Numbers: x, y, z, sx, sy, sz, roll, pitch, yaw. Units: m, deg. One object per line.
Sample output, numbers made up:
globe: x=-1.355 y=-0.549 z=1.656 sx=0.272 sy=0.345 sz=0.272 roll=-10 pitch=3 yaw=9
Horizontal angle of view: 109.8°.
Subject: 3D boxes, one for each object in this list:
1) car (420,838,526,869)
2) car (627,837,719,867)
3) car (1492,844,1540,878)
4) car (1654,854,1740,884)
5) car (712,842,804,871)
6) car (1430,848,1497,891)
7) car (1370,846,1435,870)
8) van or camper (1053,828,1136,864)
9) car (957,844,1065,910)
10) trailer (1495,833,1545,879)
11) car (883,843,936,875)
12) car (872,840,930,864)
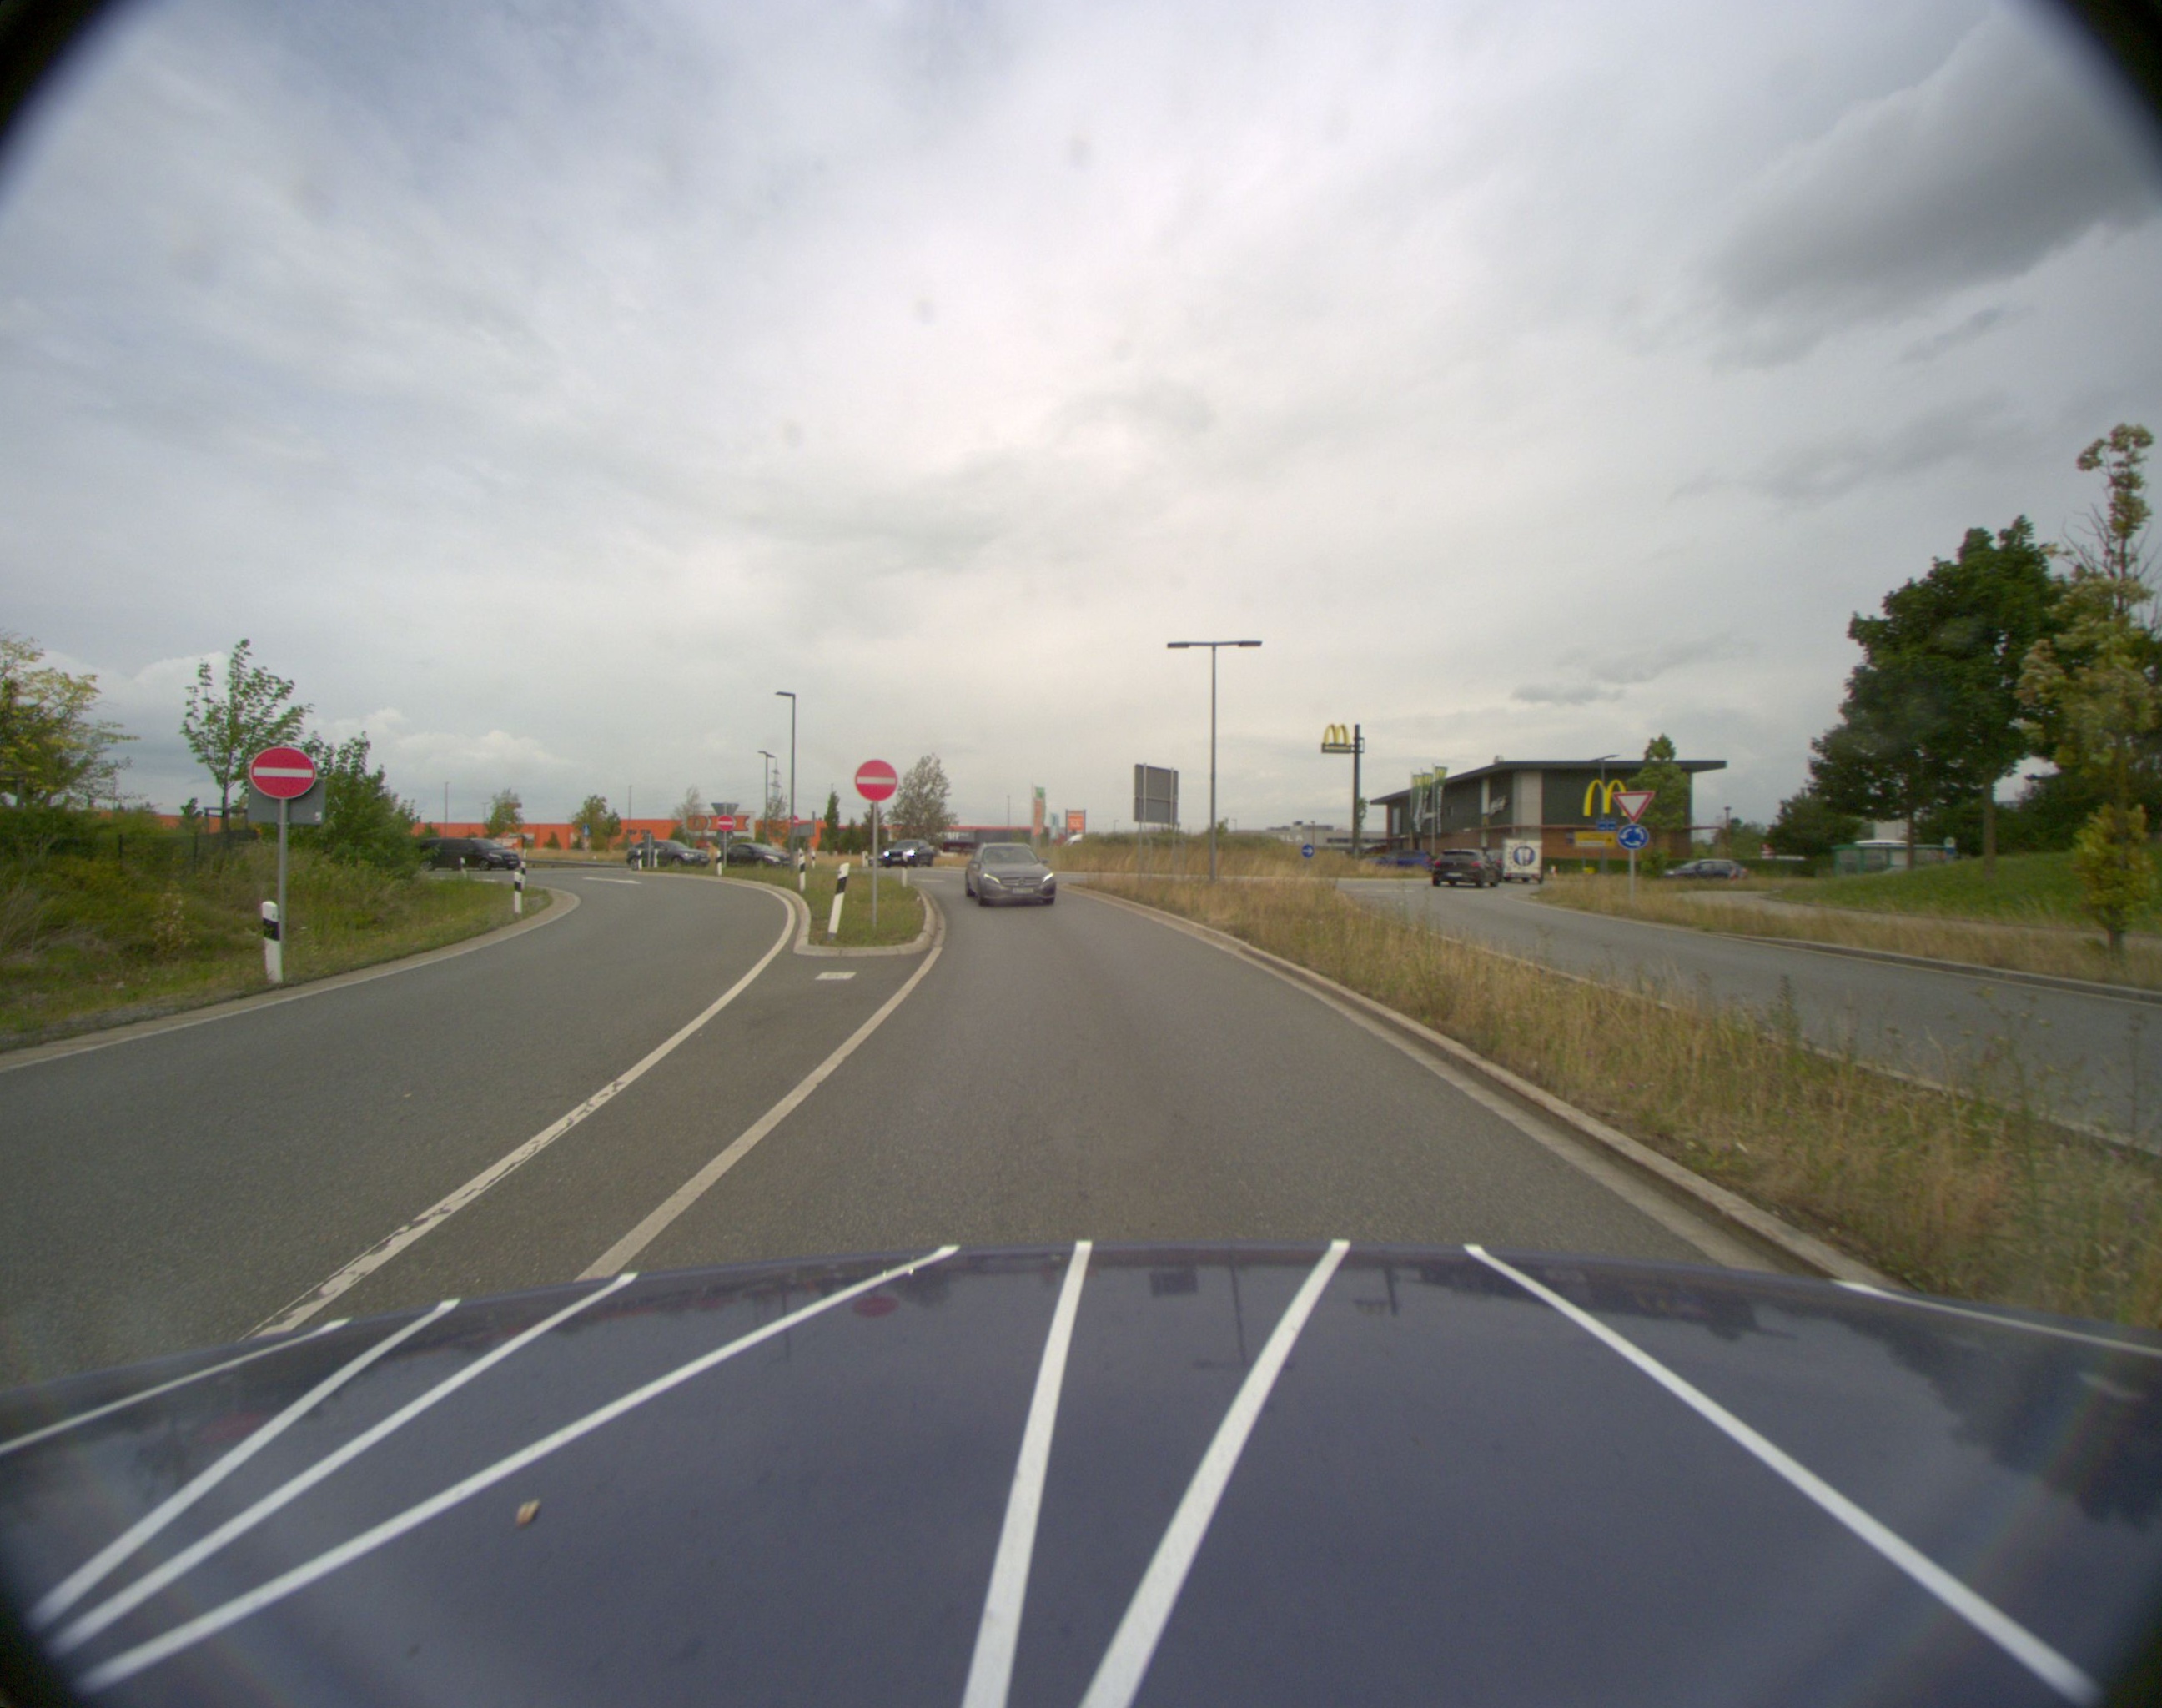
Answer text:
car: x=-34.222 y=-0.042 z=42.849 sx=4.740 sy=1.711 sz=1.723 roll=0 pitch=1 yaw=5
car: x=-22.475 y=-0.121 z=41.868 sx=4.268 sy=1.574 sz=1.886 roll=0 pitch=1 yaw=14
car: x=23.087 y=0.375 z=40.232 sx=1.811 sy=1.660 sz=4.626 roll=1 pitch=0 yaw=34
car: x=36.705 y=0.885 z=45.294 sx=4.020 sy=1.649 sz=1.894 roll=-1 pitch=1 yaw=-13
car: x=-16.230 y=0.106 z=38.211 sx=4.135 sy=1.362 sz=1.846 roll=0 pitch=1 yaw=21
car: x=14.657 y=0.547 z=29.005 sx=1.640 sy=1.451 sz=3.775 roll=3 pitch=3 yaw=36
car: x=22.134 y=0.270 z=52.391 sx=3.803 sy=1.541 sz=1.766 roll=0 pitch=0 yaw=37
van or camper: x=1.055 y=-0.616 z=59.242 sx=6.049 sy=2.634 sz=2.331 roll=-1 pitch=0 yaw=-19
car: x=-1.907 y=0.493 z=19.419 sx=1.909 sy=1.488 sz=4.332 roll=0 pitch=1 yaw=-17
trailer: x=21.188 y=0.066 z=36.784 sx=1.807 sy=2.079 sz=4.153 roll=2 pitch=1 yaw=27
car: x=-10.020 y=0.295 z=44.634 sx=1.842 sy=1.709 sz=4.002 roll=-3 pitch=-1 yaw=4
car: x=-13.042 y=-0.144 z=55.032 sx=4.003 sy=1.648 sz=1.997 roll=0 pitch=0 yaw=-17
